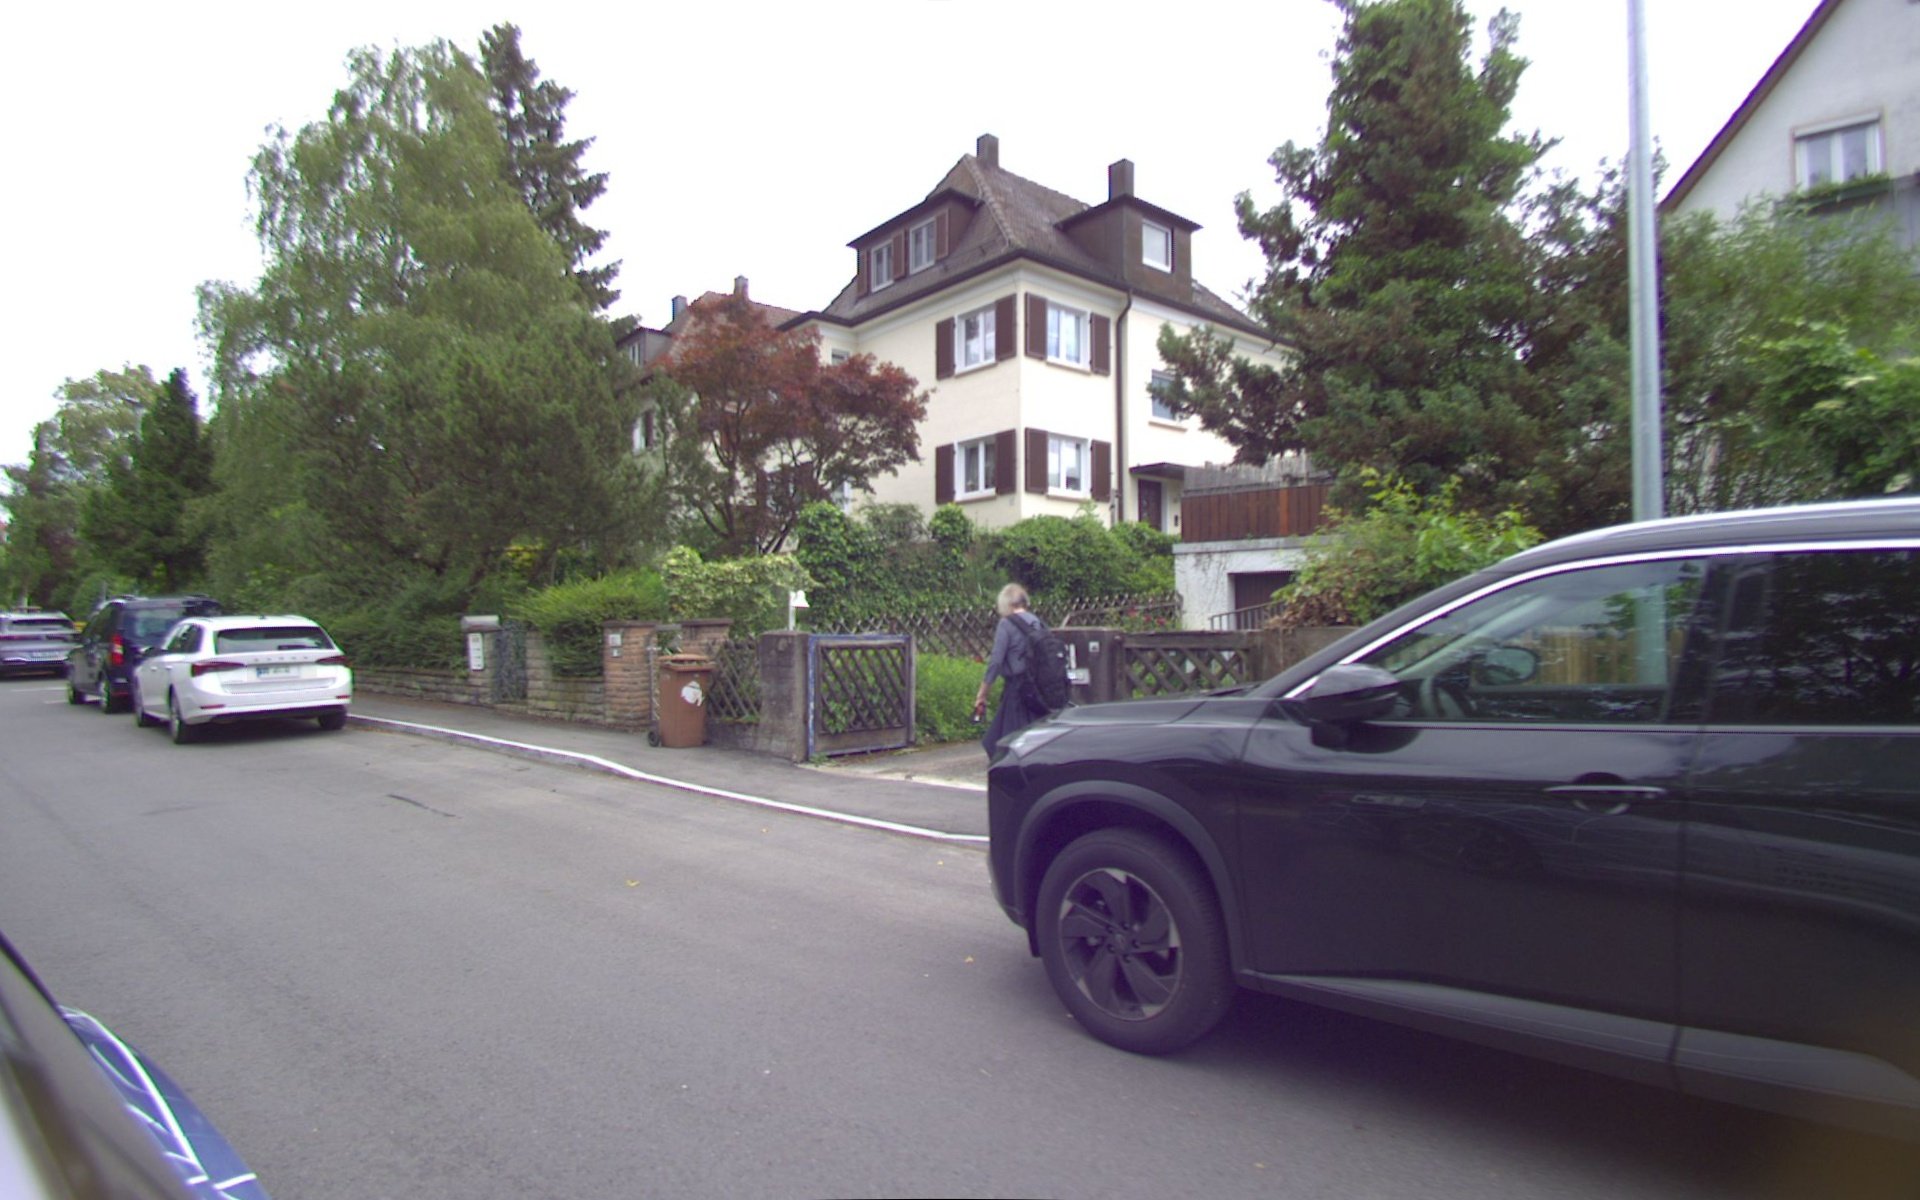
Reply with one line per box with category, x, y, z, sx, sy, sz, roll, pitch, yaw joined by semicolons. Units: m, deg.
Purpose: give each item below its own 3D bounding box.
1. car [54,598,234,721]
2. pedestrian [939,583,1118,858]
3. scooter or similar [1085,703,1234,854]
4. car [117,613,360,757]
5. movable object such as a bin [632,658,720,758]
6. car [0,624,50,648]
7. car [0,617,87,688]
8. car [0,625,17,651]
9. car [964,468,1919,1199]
car;-13.790;0.921;17.013;4.296;1.813;1.689;-2;-1;42
pedestrian;0.434;0.701;6.416;0.820;1.586;0.761;-1;-1;42
scooter or similar;1.222;1.061;6.211;0.711;0.784;0.565;-2;-1;39
car;-9.460;0.970;13.109;4.554;1.523;1.688;-2;-1;43
movable object such as a bin;-2.916;1.089;10.387;0.654;0.939;0.605;-1;-1;40
car;-54.958;2.081;58.243;1.640;1.324;3.724;-2;-1;42
car;-23.585;1.284;25.483;4.727;1.619;1.777;-2;-1;41
car;-62.387;2.440;64.214;3.720;1.602;1.642;0;-1;-43
car;2.241;0.580;2.883;4.390;1.677;1.773;-2;-1;42
